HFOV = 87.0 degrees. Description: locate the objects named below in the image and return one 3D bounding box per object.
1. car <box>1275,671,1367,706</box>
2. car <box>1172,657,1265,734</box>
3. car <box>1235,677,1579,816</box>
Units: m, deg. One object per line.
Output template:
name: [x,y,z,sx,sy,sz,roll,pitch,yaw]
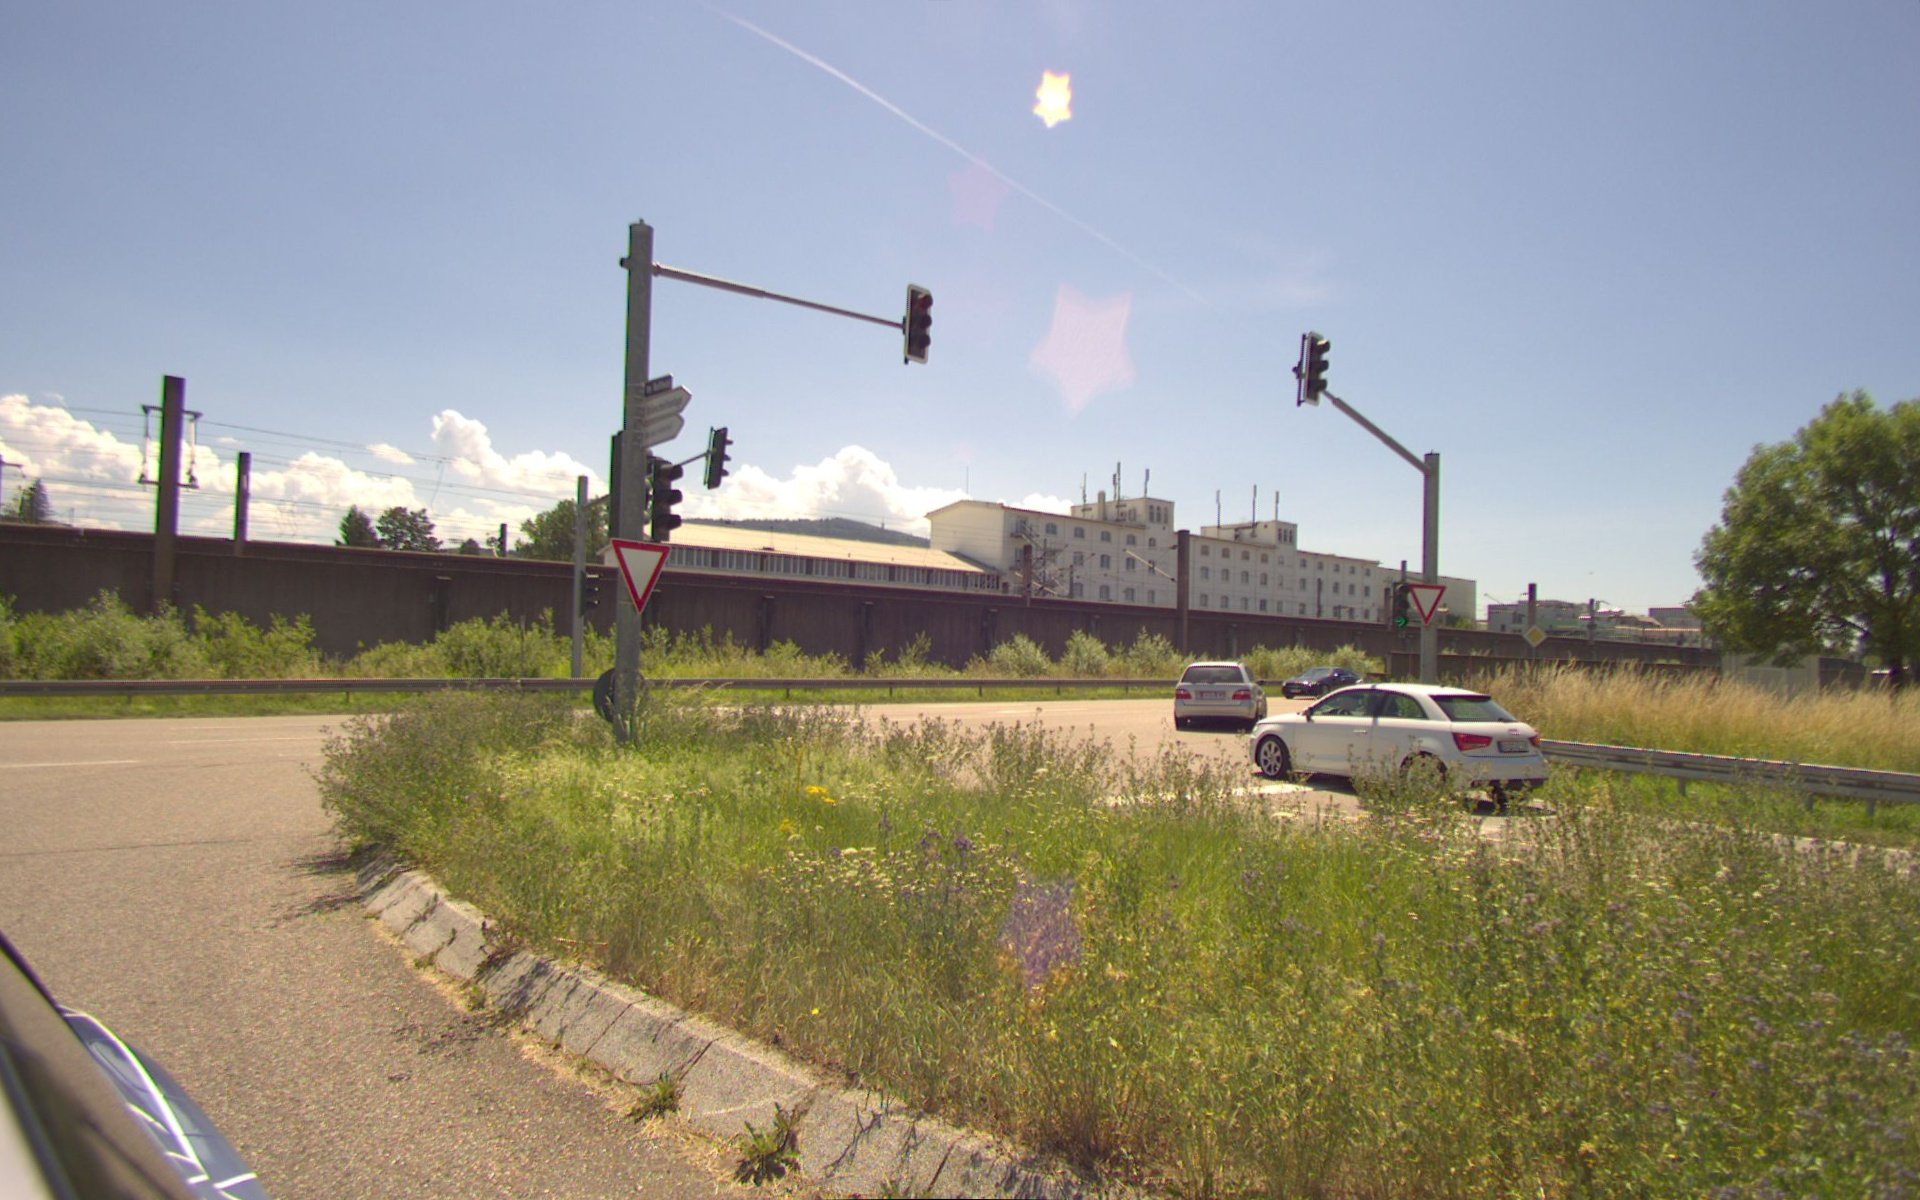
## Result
car: [15.934,3.883,44.604,4.446,1.465,1.792,4,-5,-40]
car: [6.094,2.126,23.513,1.781,1.517,4.627,0,-3,18]
car: [5.626,1.773,13.255,1.703,1.420,3.871,3,-3,-29]
